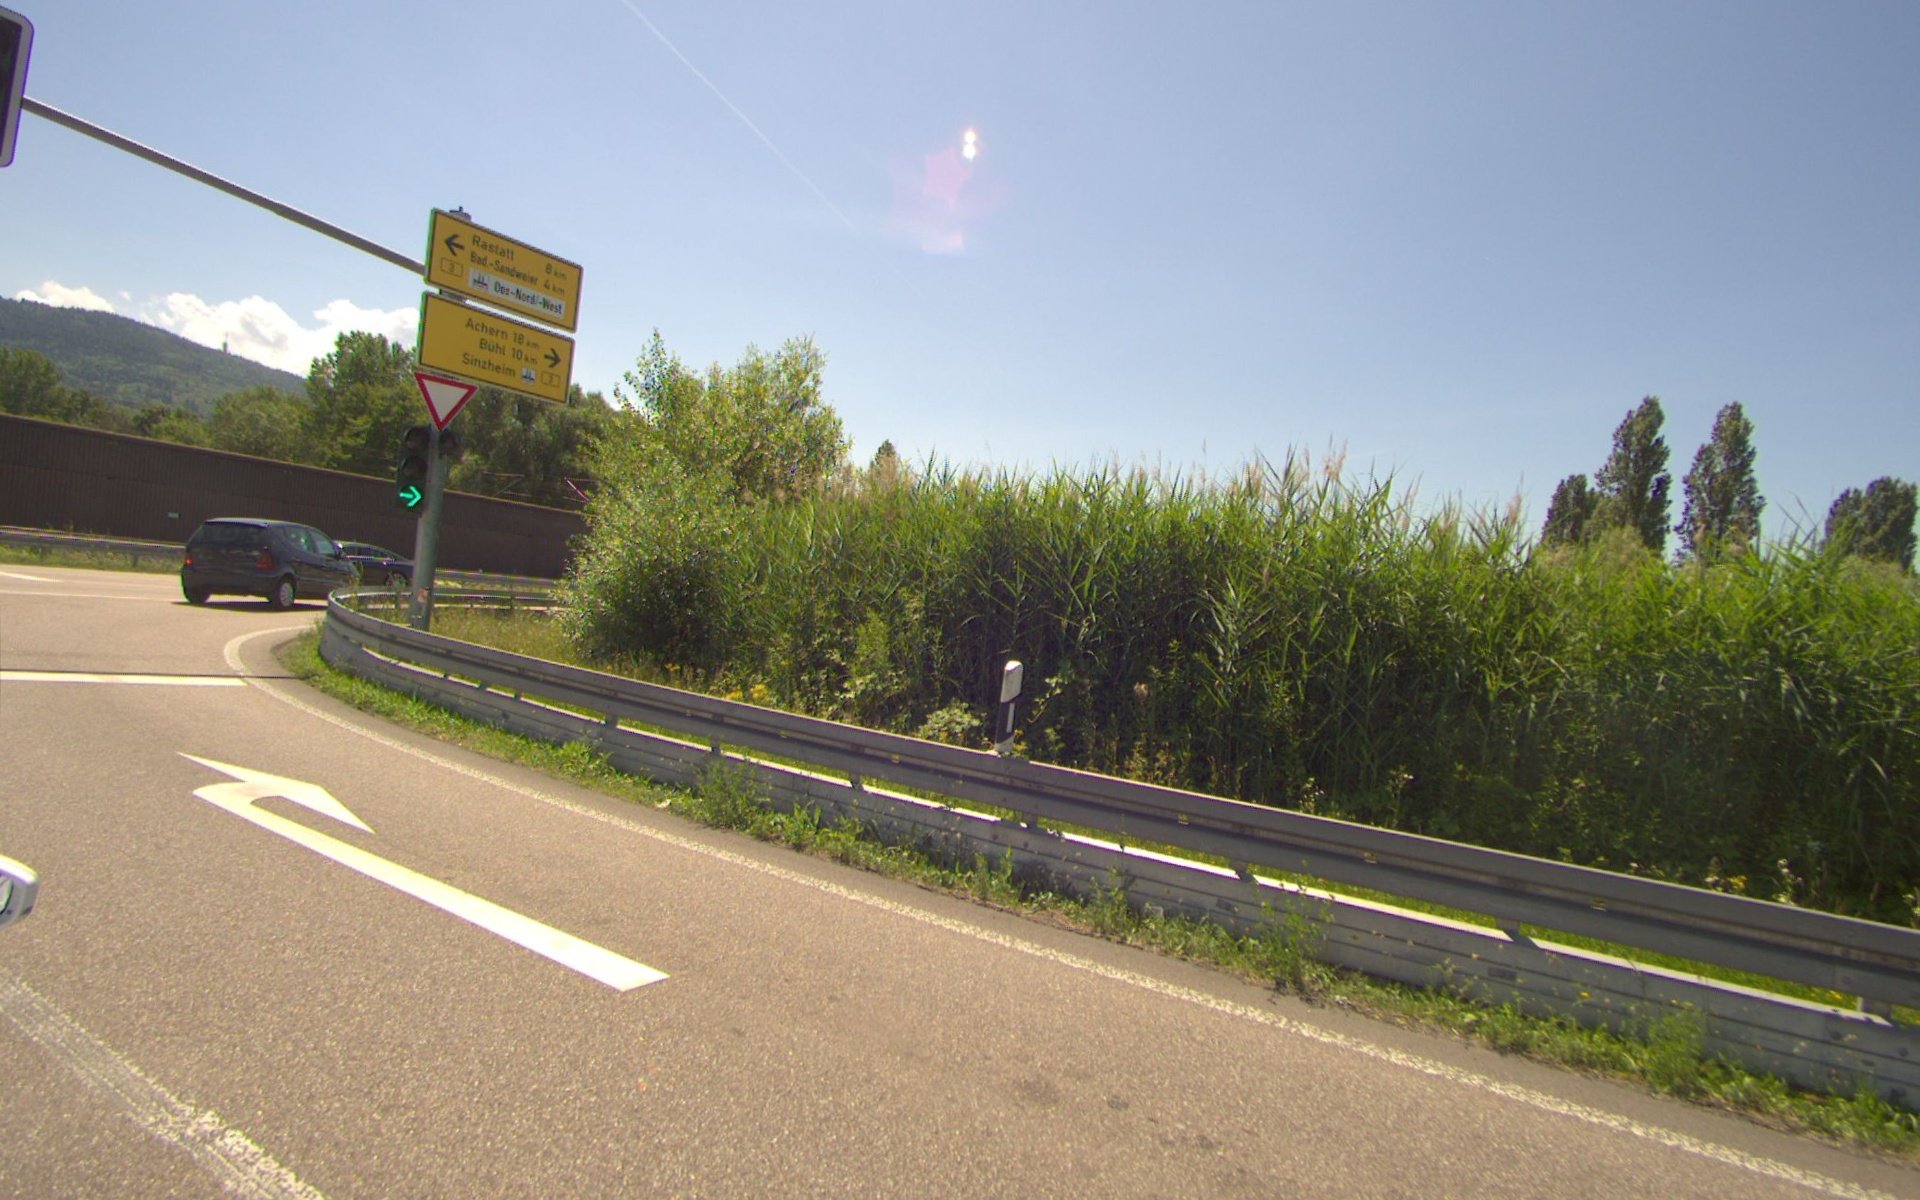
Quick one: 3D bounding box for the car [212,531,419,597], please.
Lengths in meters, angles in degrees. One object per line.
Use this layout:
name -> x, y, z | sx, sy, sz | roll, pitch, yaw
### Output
car -> -18.450, -0.986, 29.043 | 1.880, 1.381, 4.640 | 5, -1, 29

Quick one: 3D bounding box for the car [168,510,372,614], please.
car -> -13.137, -0.637, 19.419 | 1.615, 1.616, 3.558 | 7, -1, -7
